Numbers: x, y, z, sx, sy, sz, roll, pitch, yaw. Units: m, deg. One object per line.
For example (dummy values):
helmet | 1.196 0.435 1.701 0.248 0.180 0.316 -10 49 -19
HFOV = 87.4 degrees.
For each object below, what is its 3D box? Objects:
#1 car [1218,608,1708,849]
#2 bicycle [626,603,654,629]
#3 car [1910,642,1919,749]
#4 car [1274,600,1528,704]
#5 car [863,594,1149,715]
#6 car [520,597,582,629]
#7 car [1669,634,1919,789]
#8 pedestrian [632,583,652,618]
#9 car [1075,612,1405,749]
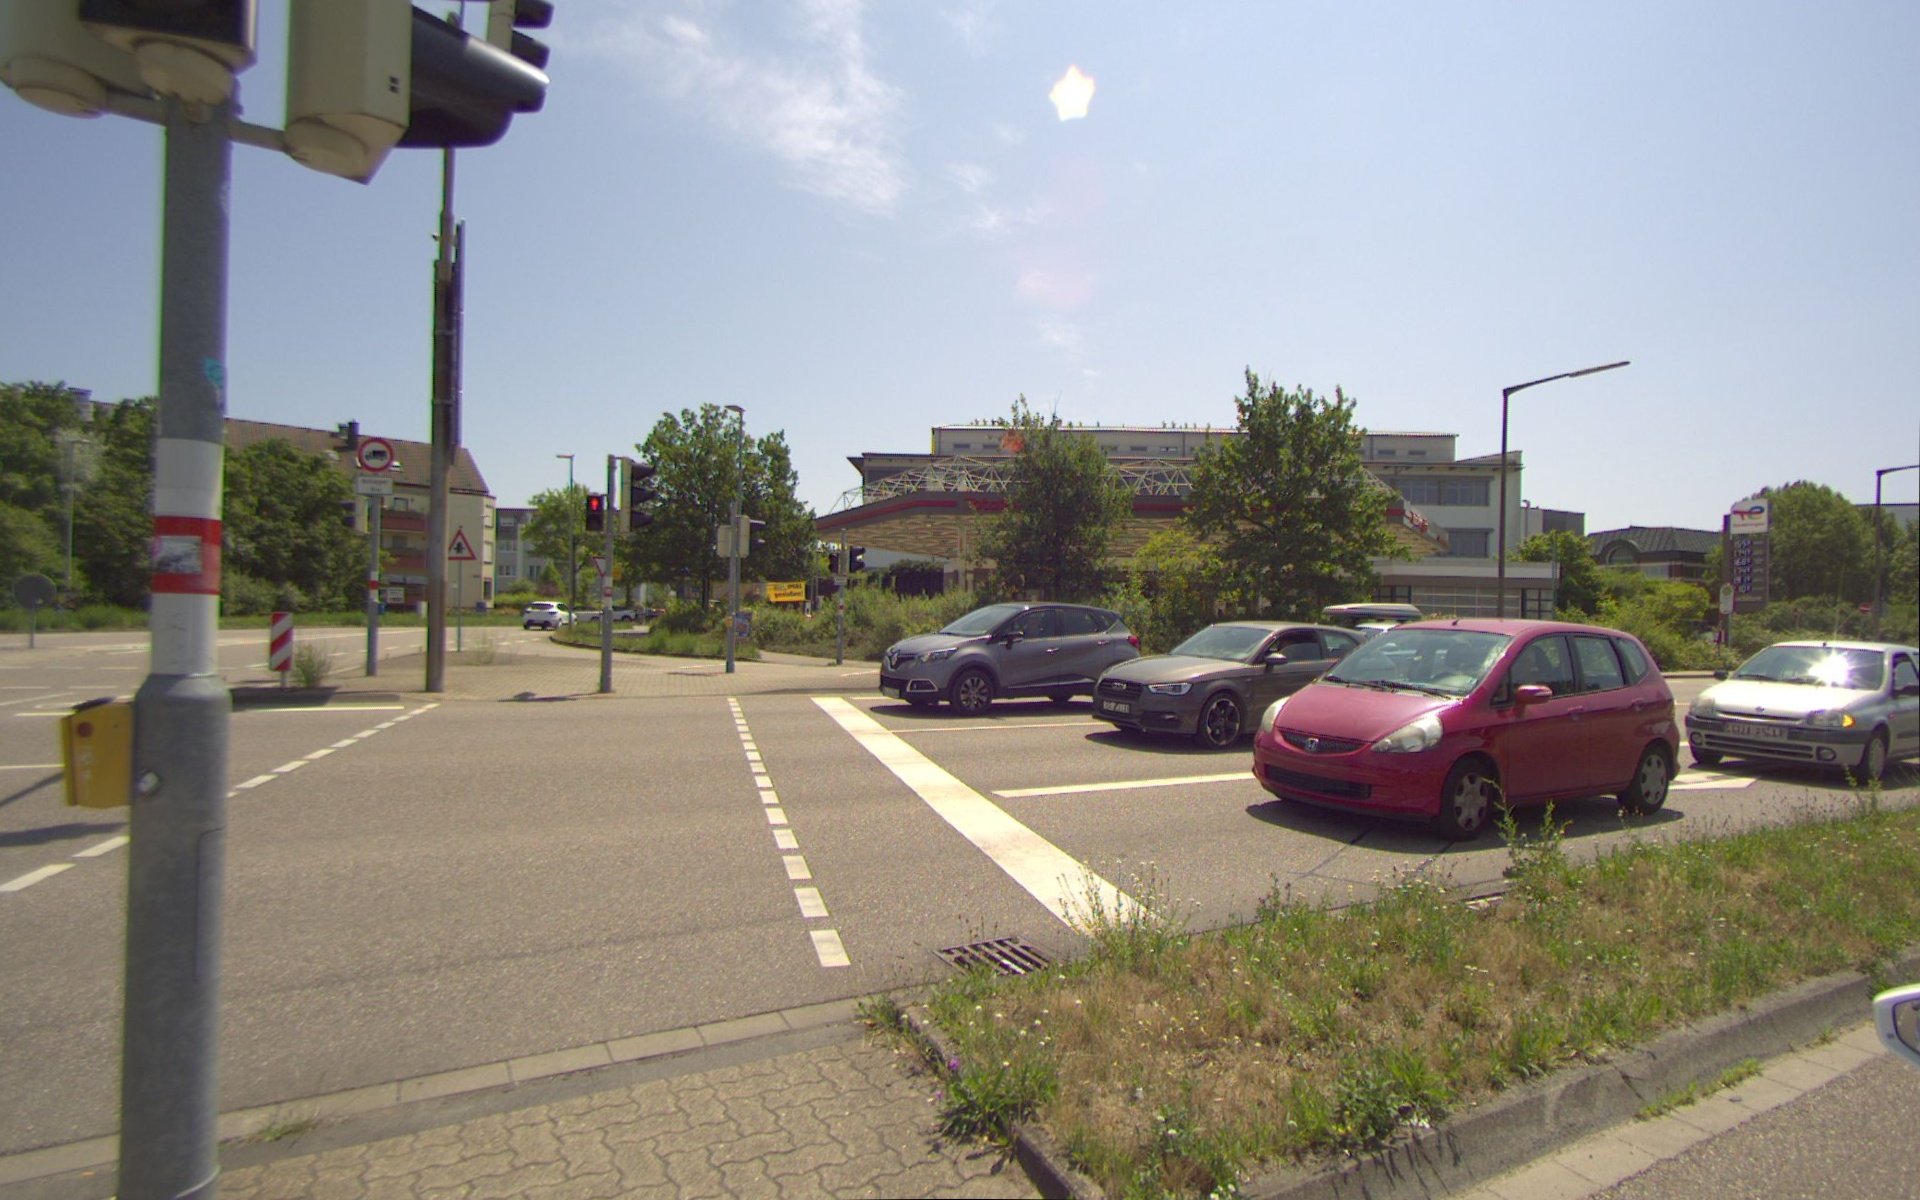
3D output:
car | 4.104 0.872 8.043 3.954 1.510 1.650 2 -1 -31
bicycle | -25.852 1.264 81.093 0.876 2.040 3.196 1 -1 6
car | 15.274 1.377 14.131 4.142 1.453 1.668 2 -1 -30
car | 8.526 0.966 19.291 4.964 1.773 1.955 2 -1 -31
car | 0.724 0.766 14.835 3.954 1.560 1.650 2 0 -31
car | -20.921 0.683 51.495 1.794 1.468 3.825 2 -1 -5
car | 9.798 1.137 11.318 3.809 1.442 1.553 1 0 -31
pedestrian | -25.761 0.065 81.477 0.864 2.751 1.518 3 0 8
car | 3.476 0.919 12.278 3.957 1.403 1.588 2 0 -31
